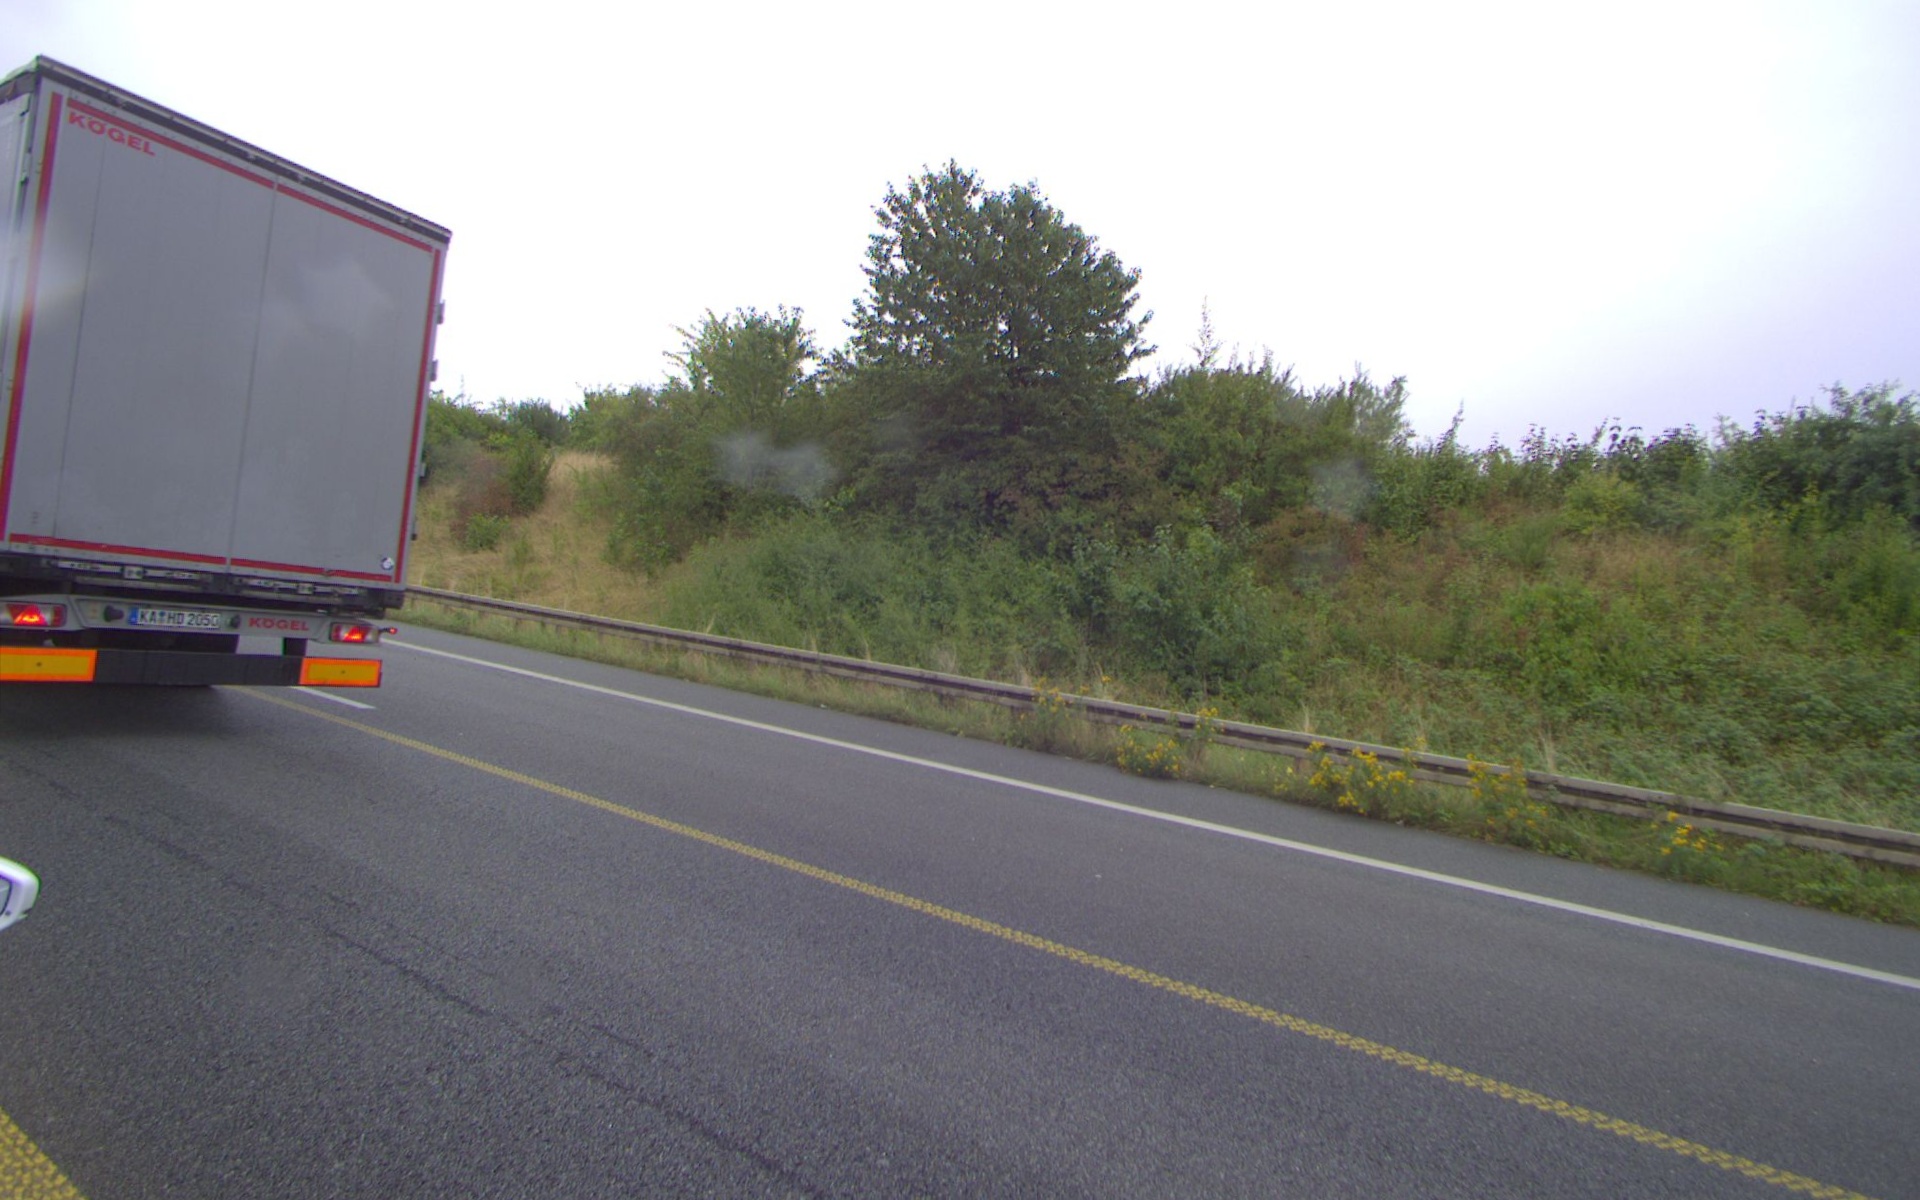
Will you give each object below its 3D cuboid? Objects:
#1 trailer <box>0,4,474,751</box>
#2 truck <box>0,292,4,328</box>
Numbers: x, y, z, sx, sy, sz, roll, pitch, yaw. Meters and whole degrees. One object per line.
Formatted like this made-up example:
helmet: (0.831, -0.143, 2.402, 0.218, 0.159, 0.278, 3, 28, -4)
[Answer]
trailer: (-10.460, -1.780, 10.314, 13.504, 4.196, 2.710, 7, -1, 32)
truck: (-16.196, -2.453, 13.886, 5.596, 4.188, 2.710, 7, 0, 32)
